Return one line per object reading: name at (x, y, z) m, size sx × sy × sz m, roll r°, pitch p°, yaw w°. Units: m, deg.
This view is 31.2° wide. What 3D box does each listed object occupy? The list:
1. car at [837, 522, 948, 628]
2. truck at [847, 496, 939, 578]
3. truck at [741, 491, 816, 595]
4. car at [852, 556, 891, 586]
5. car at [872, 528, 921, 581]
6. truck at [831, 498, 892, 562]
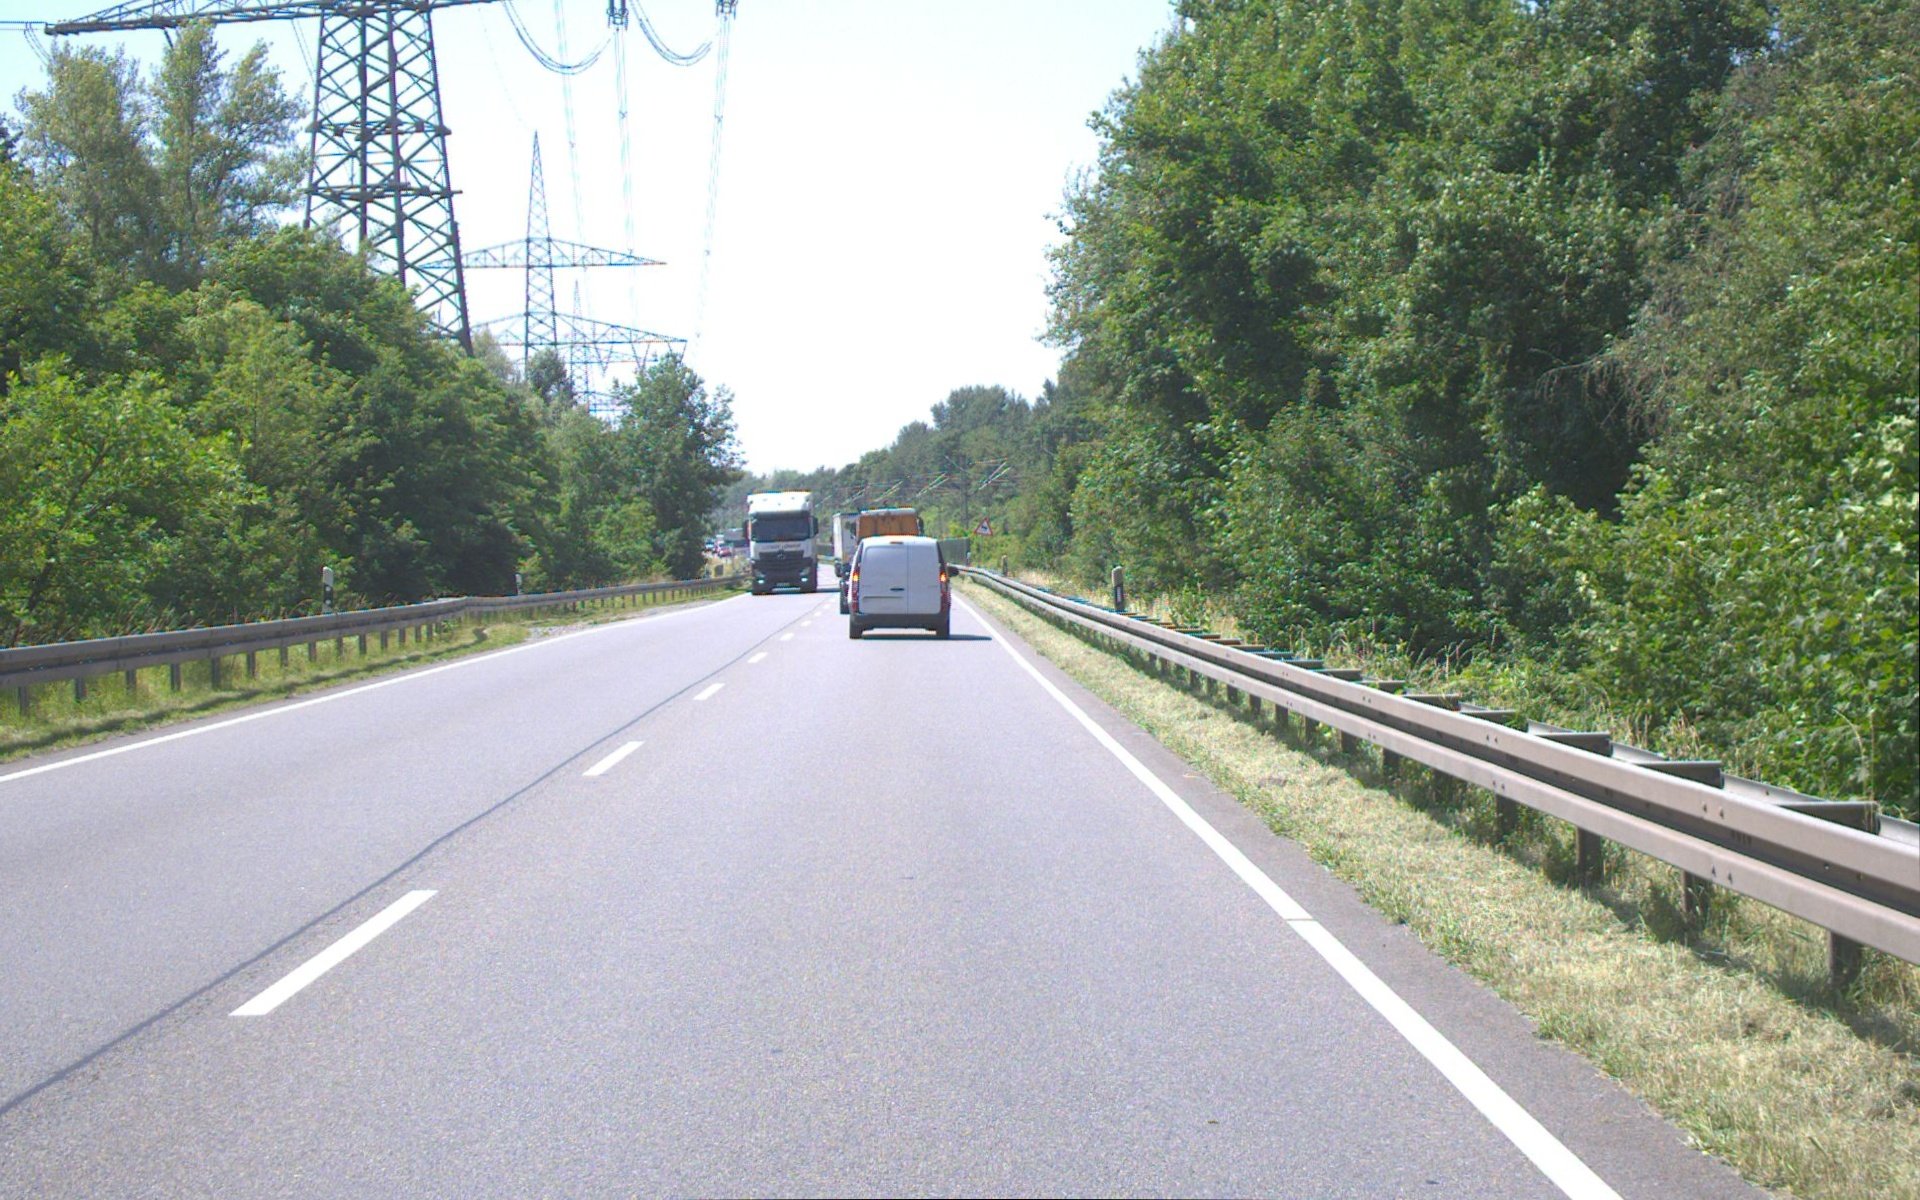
car at (-1.190, -0.472, 60.560) m, size 1.875 × 1.735 × 4.001 m, roll 1°, pitch 2°, yaw -1°
truck at (-2.904, -2.726, 143.267) m, size 3.296 × 3.161 × 14.407 m, roll 1°, pitch 2°, yaw -3°
truck at (-7.161, -2.255, 136.299) m, size 2.763 × 3.985 × 5.907 m, roll 1°, pitch 1°, yaw -1°
car at (-4.831, -1.561, 186.824) m, size 1.993 × 1.521 × 4.001 m, roll -2°, pitch 1°, yaw -3°
car at (-2.447, -1.738, 131.770) m, size 1.763 × 2.007 × 4.001 m, roll 0°, pitch 1°, yaw -3°
truck at (-6.358, -4.547, 219.511) m, size 3.402 × 3.841 × 16.821 m, roll 1°, pitch 2°, yaw -3°
